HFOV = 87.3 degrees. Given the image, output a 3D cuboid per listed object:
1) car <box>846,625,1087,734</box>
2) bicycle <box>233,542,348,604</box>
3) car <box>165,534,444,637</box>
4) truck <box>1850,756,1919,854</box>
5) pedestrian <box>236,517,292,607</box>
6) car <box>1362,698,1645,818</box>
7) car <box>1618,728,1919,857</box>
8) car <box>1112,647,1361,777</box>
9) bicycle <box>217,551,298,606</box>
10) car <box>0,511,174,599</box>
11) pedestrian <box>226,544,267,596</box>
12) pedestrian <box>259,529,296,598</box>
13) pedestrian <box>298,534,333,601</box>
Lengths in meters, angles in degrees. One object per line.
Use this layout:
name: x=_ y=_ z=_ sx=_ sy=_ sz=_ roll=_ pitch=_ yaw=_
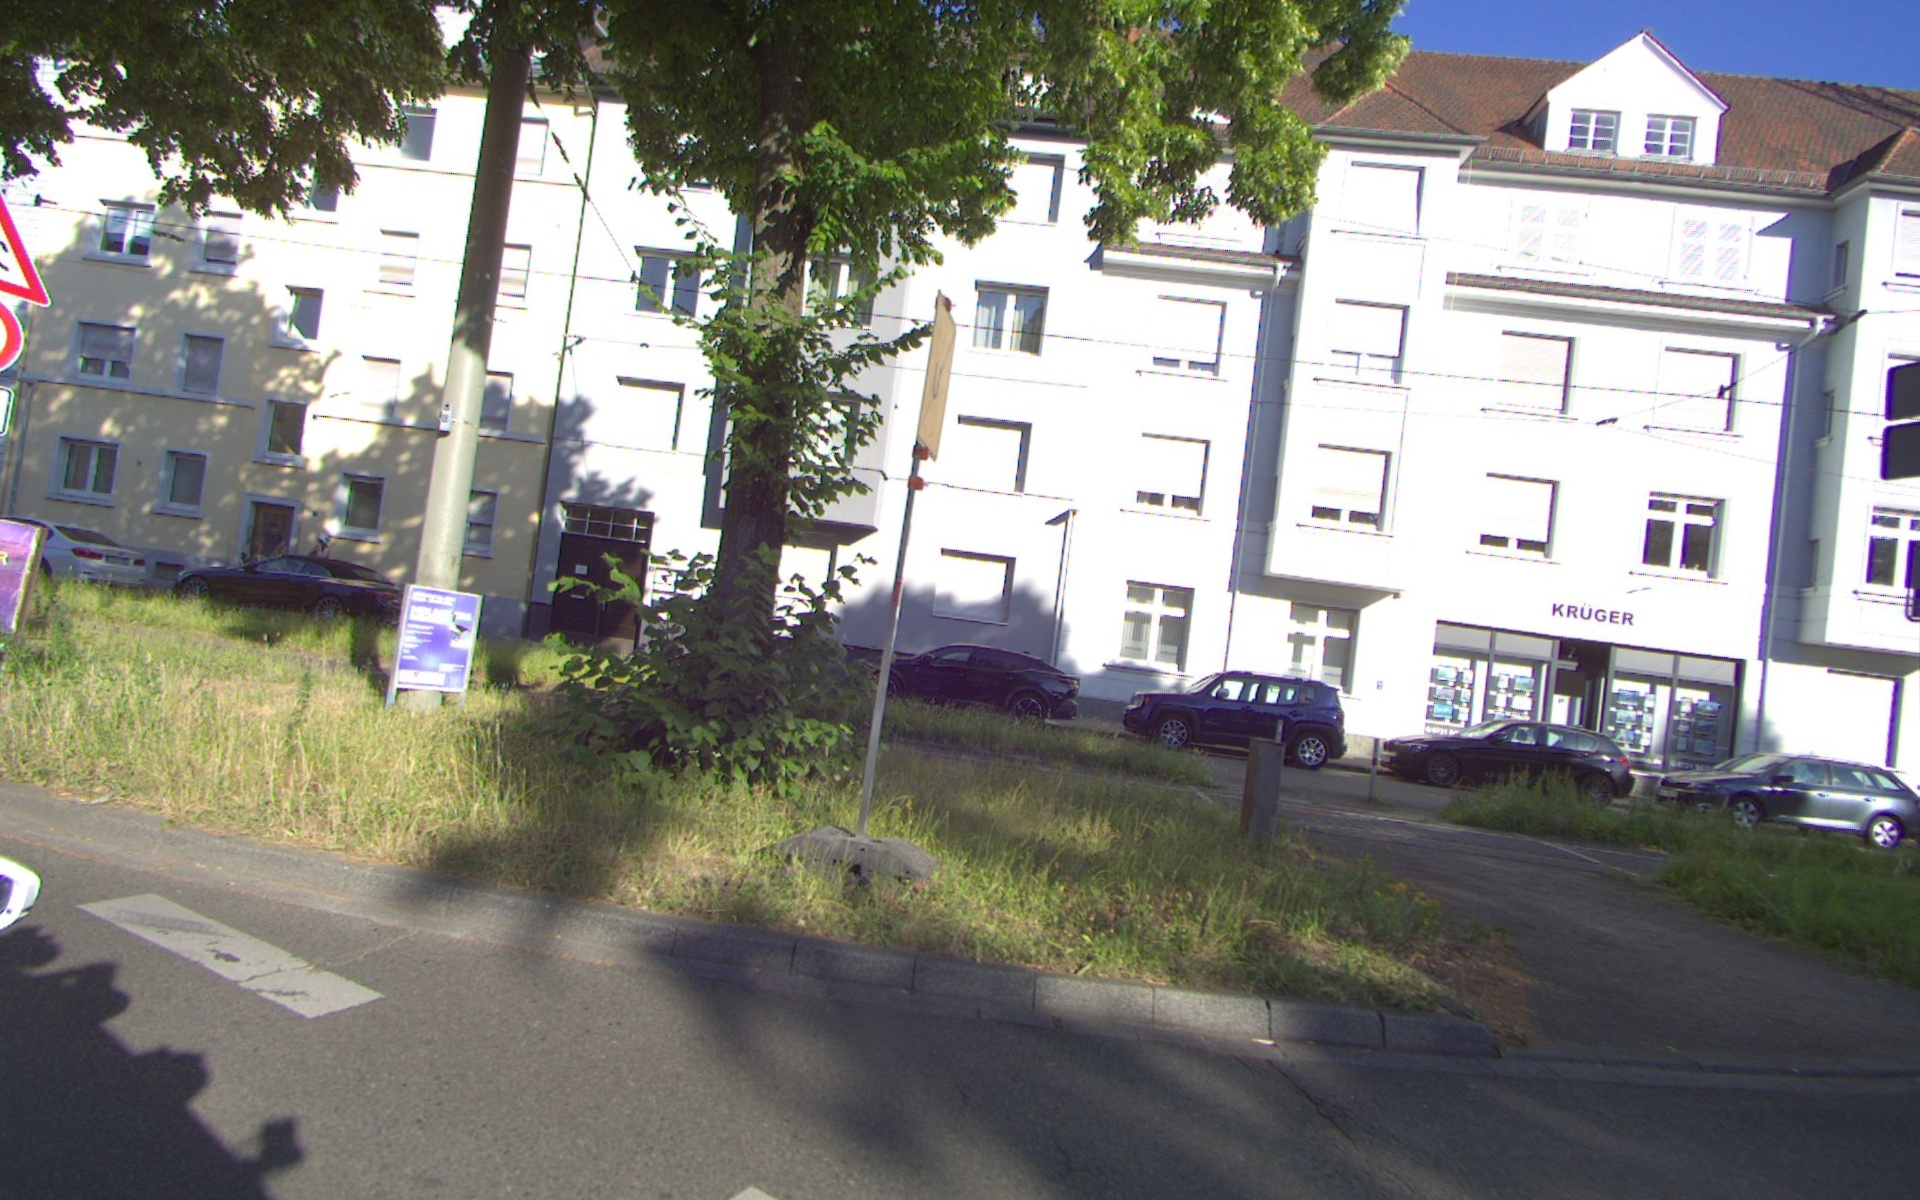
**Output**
car: x=0.171 y=1.515 z=19.720 sx=4.363 sy=1.402 sz=2.002 roll=8 pitch=-1 yaw=4
bicycle: x=-15.532 y=-0.626 z=23.363 sx=2.264 sy=1.144 sz=0.536 roll=7 pitch=-1 yaw=4
car: x=-13.379 y=-0.249 z=20.727 sx=4.363 sy=1.402 sz=2.002 roll=8 pitch=-1 yaw=4
truck: x=19.547 y=4.123 z=18.674 sx=4.020 sy=1.604 sz=2.002 roll=8 pitch=-1 yaw=4
pedestrian: x=-16.799 y=-0.902 z=24.280 sx=0.637 sy=2.037 sz=0.614 roll=7 pitch=-1 yaw=4
car: x=10.101 y=2.909 z=19.005 sx=4.130 sy=1.402 sz=2.002 roll=8 pitch=-1 yaw=7
car: x=14.945 y=3.501 z=18.638 sx=4.020 sy=1.469 sz=2.002 roll=8 pitch=-1 yaw=4
car: x=5.191 y=2.085 z=19.412 sx=4.130 sy=1.769 sz=2.002 roll=8 pitch=-1 yaw=4
bicycle: x=-16.937 y=-0.512 z=24.254 sx=1.487 sy=1.144 sz=0.536 roll=7 pitch=-1 yaw=4
car: x=-19.833 y=-1.067 z=21.548 sx=4.363 sy=1.402 sz=2.002 roll=8 pitch=-1 yaw=4
pedestrian: x=-16.093 y=-0.678 z=22.701 sx=0.452 sy=1.077 sz=0.433 roll=7 pitch=-1 yaw=5
pedestrian: x=-15.794 y=-0.847 z=23.280 sx=0.435 sy=1.533 sz=0.333 roll=7 pitch=0 yaw=0
pedestrian: x=-15.357 y=-0.759 z=23.970 sx=0.435 sy=1.533 sz=0.305 roll=7 pitch=0 yaw=-3
